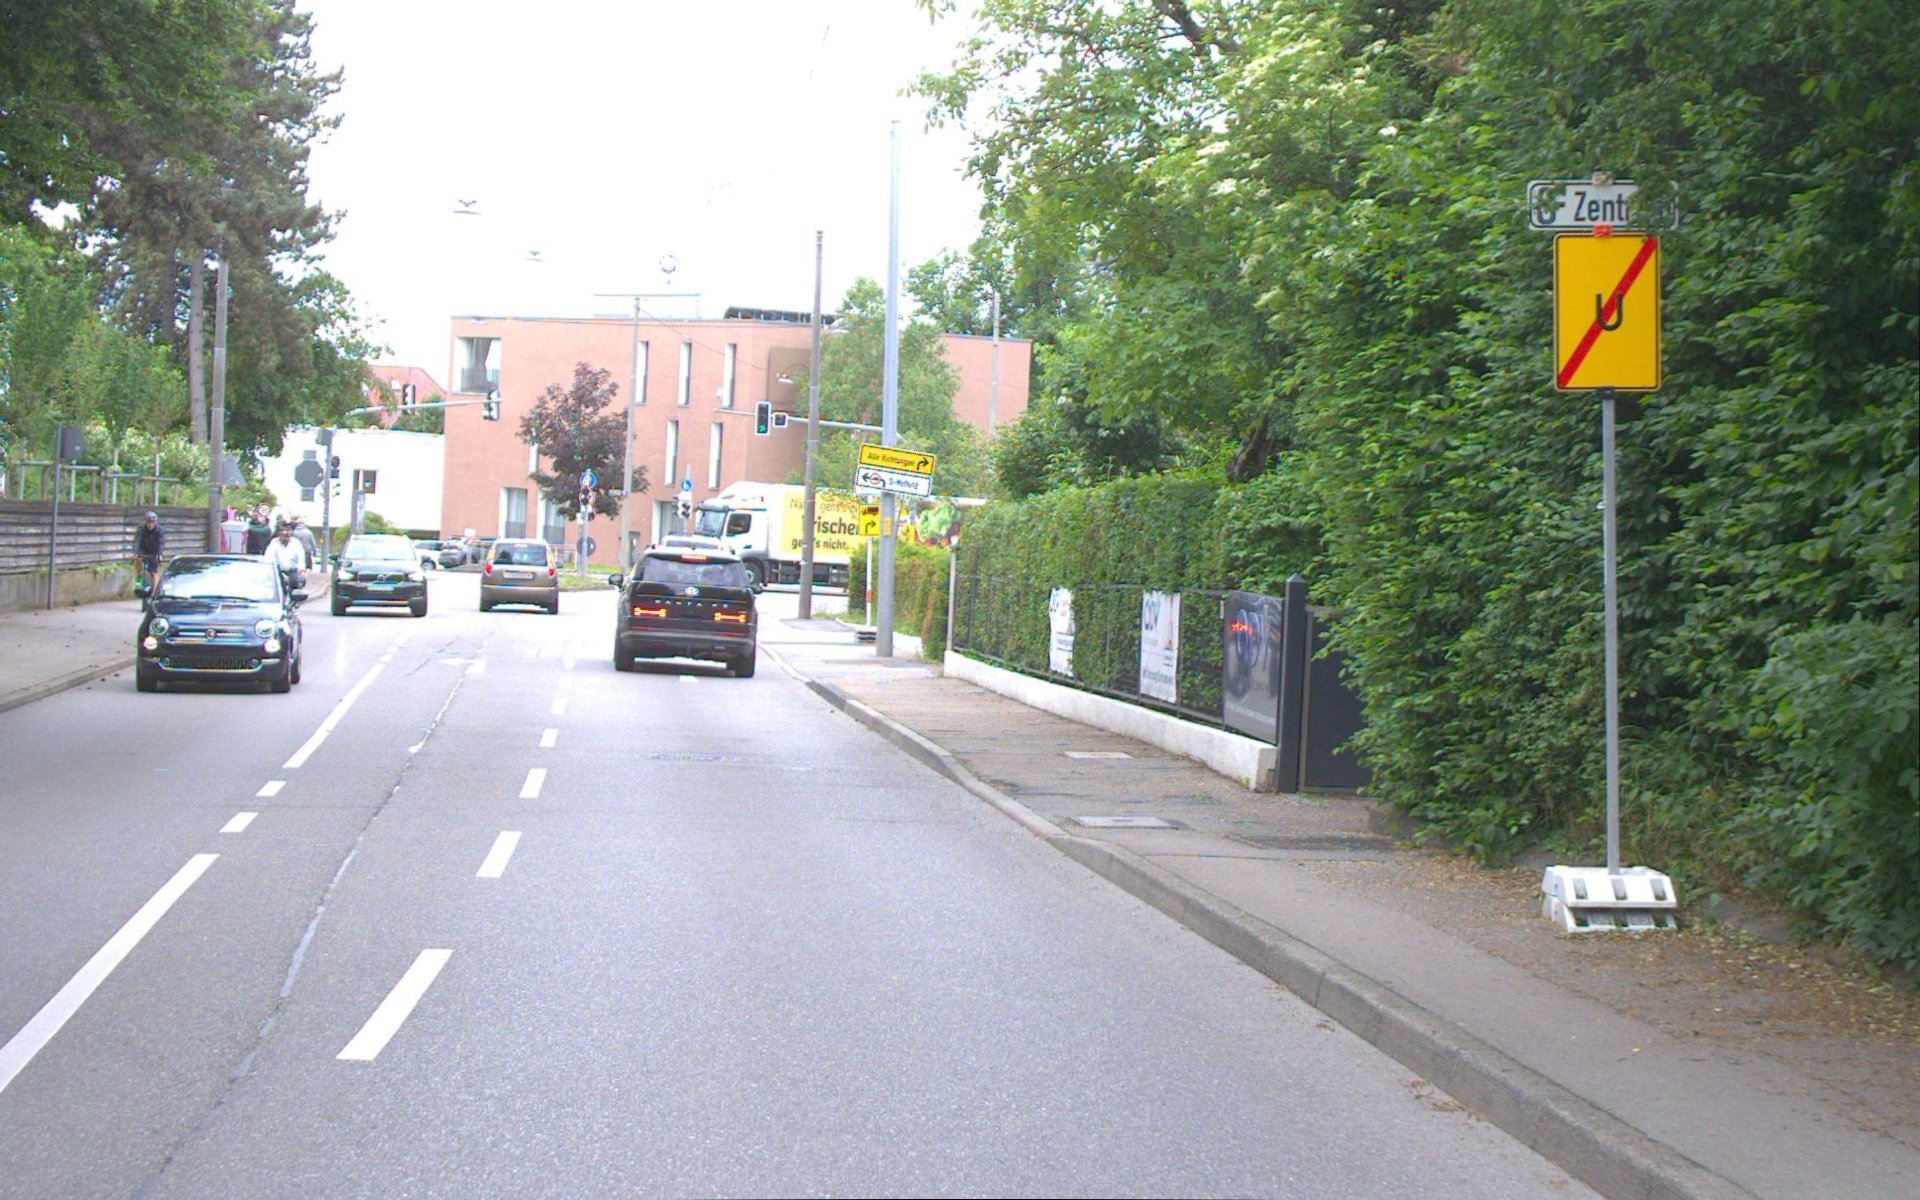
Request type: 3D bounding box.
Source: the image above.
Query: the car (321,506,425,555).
[{"bbox_3d":[-25.761,-3.055,150.788,3.987,2.006,2.000,1,2,-33],"label":"car"}]

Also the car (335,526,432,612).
[{"bbox_3d":[-11.691,-0.651,69.551,1.831,1.625,4.284,0,2,-11],"label":"car"}]

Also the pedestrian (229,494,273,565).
[{"bbox_3d":[-17.913,-1.781,86.894,0.815,1.757,0.868,2,1,-28],"label":"pedestrian"}]

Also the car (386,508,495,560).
[{"bbox_3d":[-21.721,-2.764,143.759,3.987,2.007,2.000,1,2,-34],"label":"car"}]

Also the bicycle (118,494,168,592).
[{"bbox_3d":[-14.481,-1.019,60.979,0.561,1.670,1.981,2,1,-7],"label":"bicycle"}]

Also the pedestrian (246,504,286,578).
[{"bbox_3d":[-17.562,-1.487,86.937,0.750,1.831,0.614,1,2,-34],"label":"pedestrian"}]

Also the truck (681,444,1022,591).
[{"bbox_3d":[-3.762,-2.866,121.464,11.754,4.718,3.136,1,2,-30],"label":"truck"}]

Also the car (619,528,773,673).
[{"bbox_3d":[-3.697,-0.006,47.818,1.993,1.875,4.001,2,0,-5],"label":"car"}]

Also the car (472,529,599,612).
[{"bbox_3d":[-9.251,-0.668,75.260,1.893,1.700,3.999,2,1,5],"label":"car"}]

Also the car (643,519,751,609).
[{"bbox_3d":[-6.723,-0.958,88.334,1.962,2.006,4.428,5,3,4],"label":"car"}]

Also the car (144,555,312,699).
[{"bbox_3d":[-8.040,0.260,37.850,1.719,1.466,3.532,0,1,-11],"label":"car"}]

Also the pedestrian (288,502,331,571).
[{"bbox_3d":[-16.527,-1.615,87.319,0.695,1.728,0.751,3,2,39],"label":"pedestrian"}]

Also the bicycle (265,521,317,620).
[{"bbox_3d":[-11.999,-0.538,61.695,0.758,1.738,1.872,0,1,-7],"label":"bicycle"}]

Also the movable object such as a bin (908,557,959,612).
[{"bbox_3d":[-0.545,-0.318,71.152,0.714,1.070,0.682,4,0,-43],"label":"movable object such as a bin"}]
